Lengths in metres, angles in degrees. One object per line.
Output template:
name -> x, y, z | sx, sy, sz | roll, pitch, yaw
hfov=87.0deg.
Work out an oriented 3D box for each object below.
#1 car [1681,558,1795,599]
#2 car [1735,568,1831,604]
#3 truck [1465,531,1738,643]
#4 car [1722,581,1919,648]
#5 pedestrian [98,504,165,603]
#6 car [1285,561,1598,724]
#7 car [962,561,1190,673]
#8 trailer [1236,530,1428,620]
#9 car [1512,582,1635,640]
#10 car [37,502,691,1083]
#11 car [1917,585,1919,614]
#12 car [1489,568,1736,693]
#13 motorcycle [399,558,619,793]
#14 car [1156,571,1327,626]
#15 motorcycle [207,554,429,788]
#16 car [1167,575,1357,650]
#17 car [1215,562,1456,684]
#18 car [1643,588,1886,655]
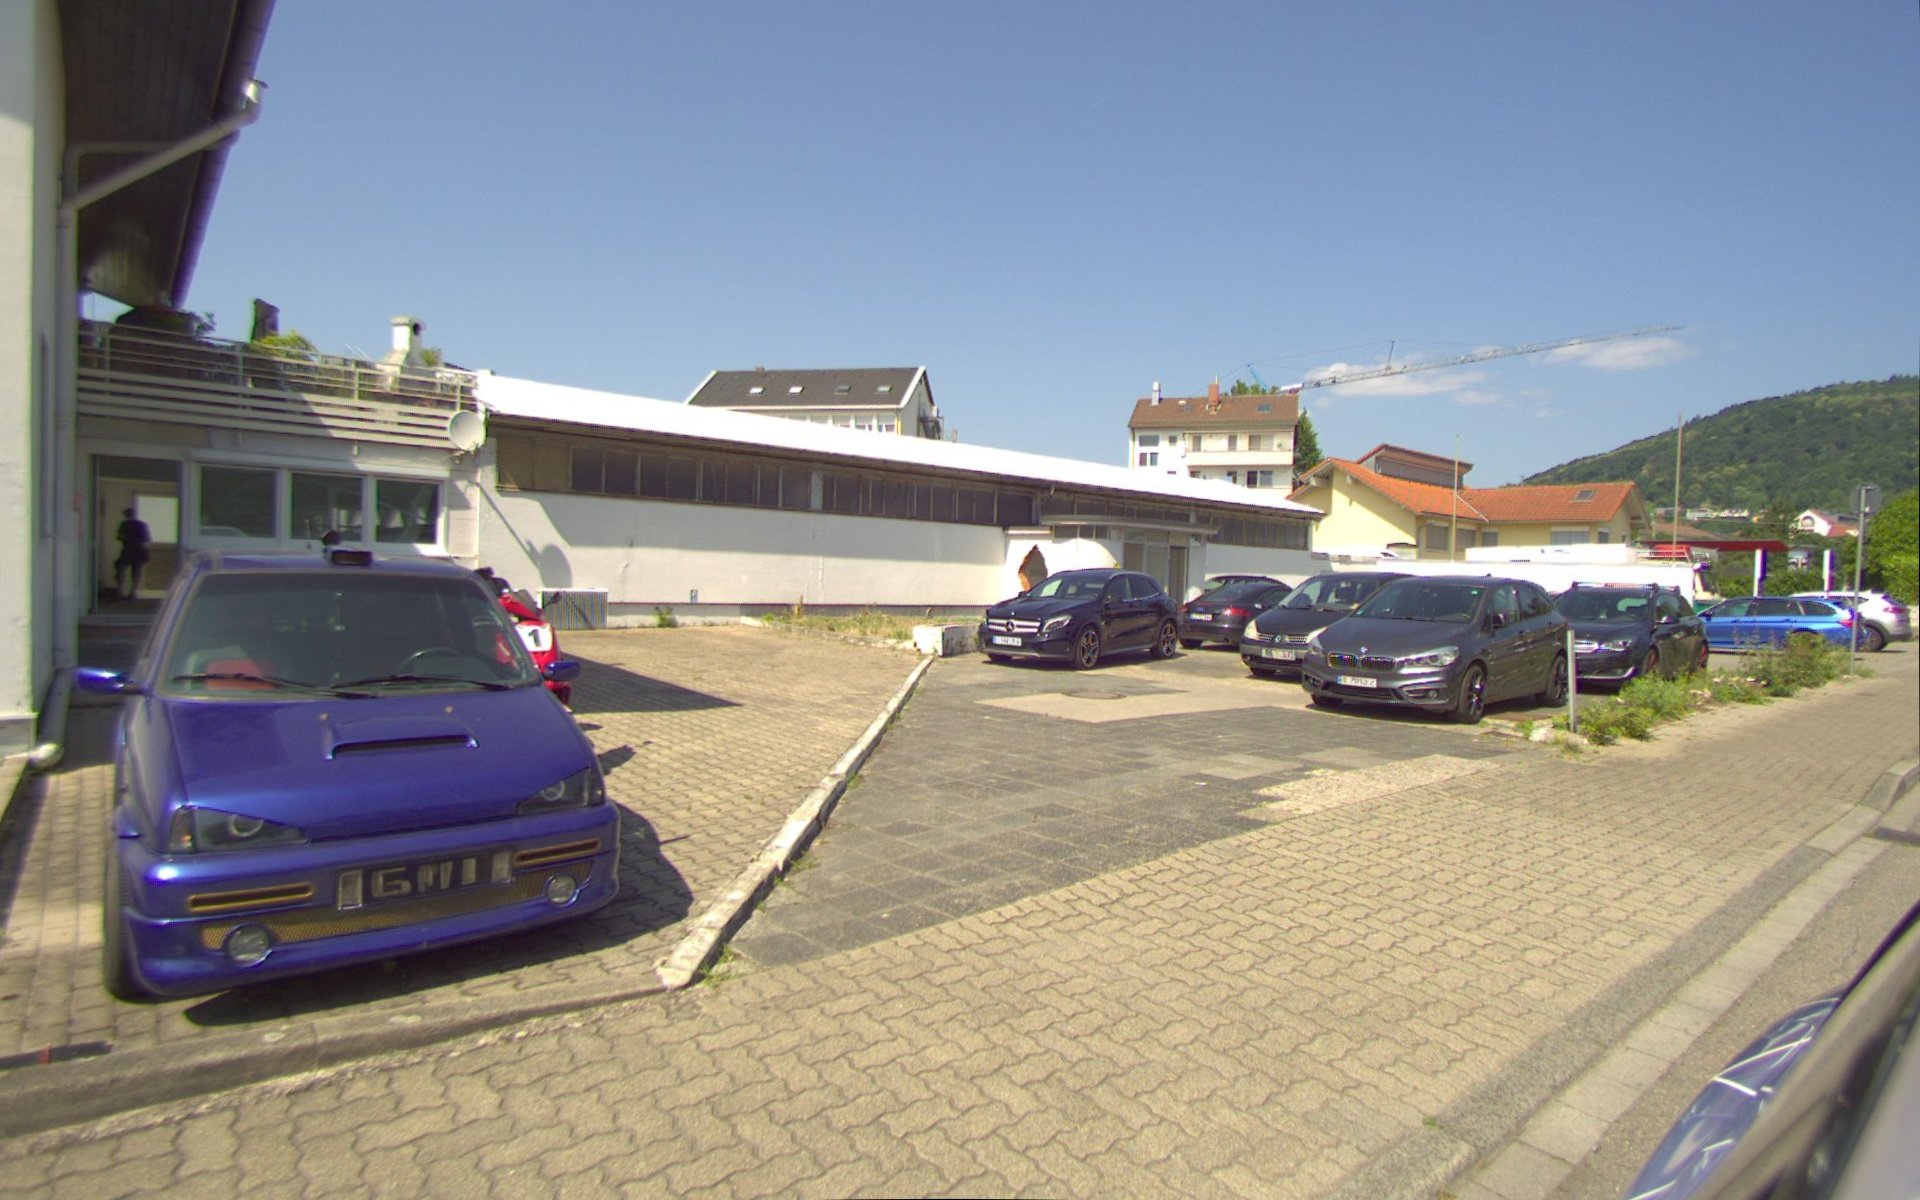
car -> 55.339, -1.581, 72.157 | 5.963, 2.711, 2.238 | 3, 3, 28
car -> 55.266, -0.955, 68.060 | 1.885, 2.176, 4.588 | 1, 3, -22
truck -> 21.897, -0.343, 34.998 | 2.482, 3.467, 7.532 | 0, -1, -39
car -> 24.031, 0.438, 28.152 | 1.736, 1.704, 4.207 | -1, -2, -40
pedestrian -> -15.509, -0.869, 18.952 | 0.738, 1.793, 0.819 | 3, 2, 38
car -> 5.837, 0.391, 12.035 | 4.218, 1.577, 1.815 | 0, 2, -41
car -> 1.999, 0.195, 16.476 | 1.757, 1.514, 4.092 | 4, 3, 38
trailer -> 17.520, -1.245, 48.304 | 3.009, 3.910, 8.365 | 0, 2, -34
car -> 17.513, 0.266, 28.815 | 4.381, 1.459, 1.888 | -1, 3, -44
car -> -2.623, 0.421, 4.255 | 1.643, 1.416, 3.261 | 2, 1, -39
car -> 52.471, 0.133, 52.161 | 1.865, 1.546, 4.411 | 1, 3, -42
car -> 10.033, 0.378, 15.396 | 4.865, 1.587, 1.862 | 0, 2, -41
motorcycle -> -3.076, 0.410, 6.793 | 0.783, 1.295, 1.872 | 0, 3, -42
car -> 7.440, -0.056, 26.787 | 4.099, 1.341, 1.719 | 1, 2, -20
motorcycle -> -4.288, 0.383, 6.707 | 1.749, 1.295, 0.785 | 5, 3, 41
car -> 6.190, 0.217, 20.541 | 4.025, 1.341, 1.646 | 0, 2, -38
car -> 5.682, 0.301, 15.194 | 3.551, 1.615, 1.764 | 0, 0, -37
car -> 19.441, 0.456, 24.607 | 1.859, 1.460, 4.361 | 1, 0, -40
